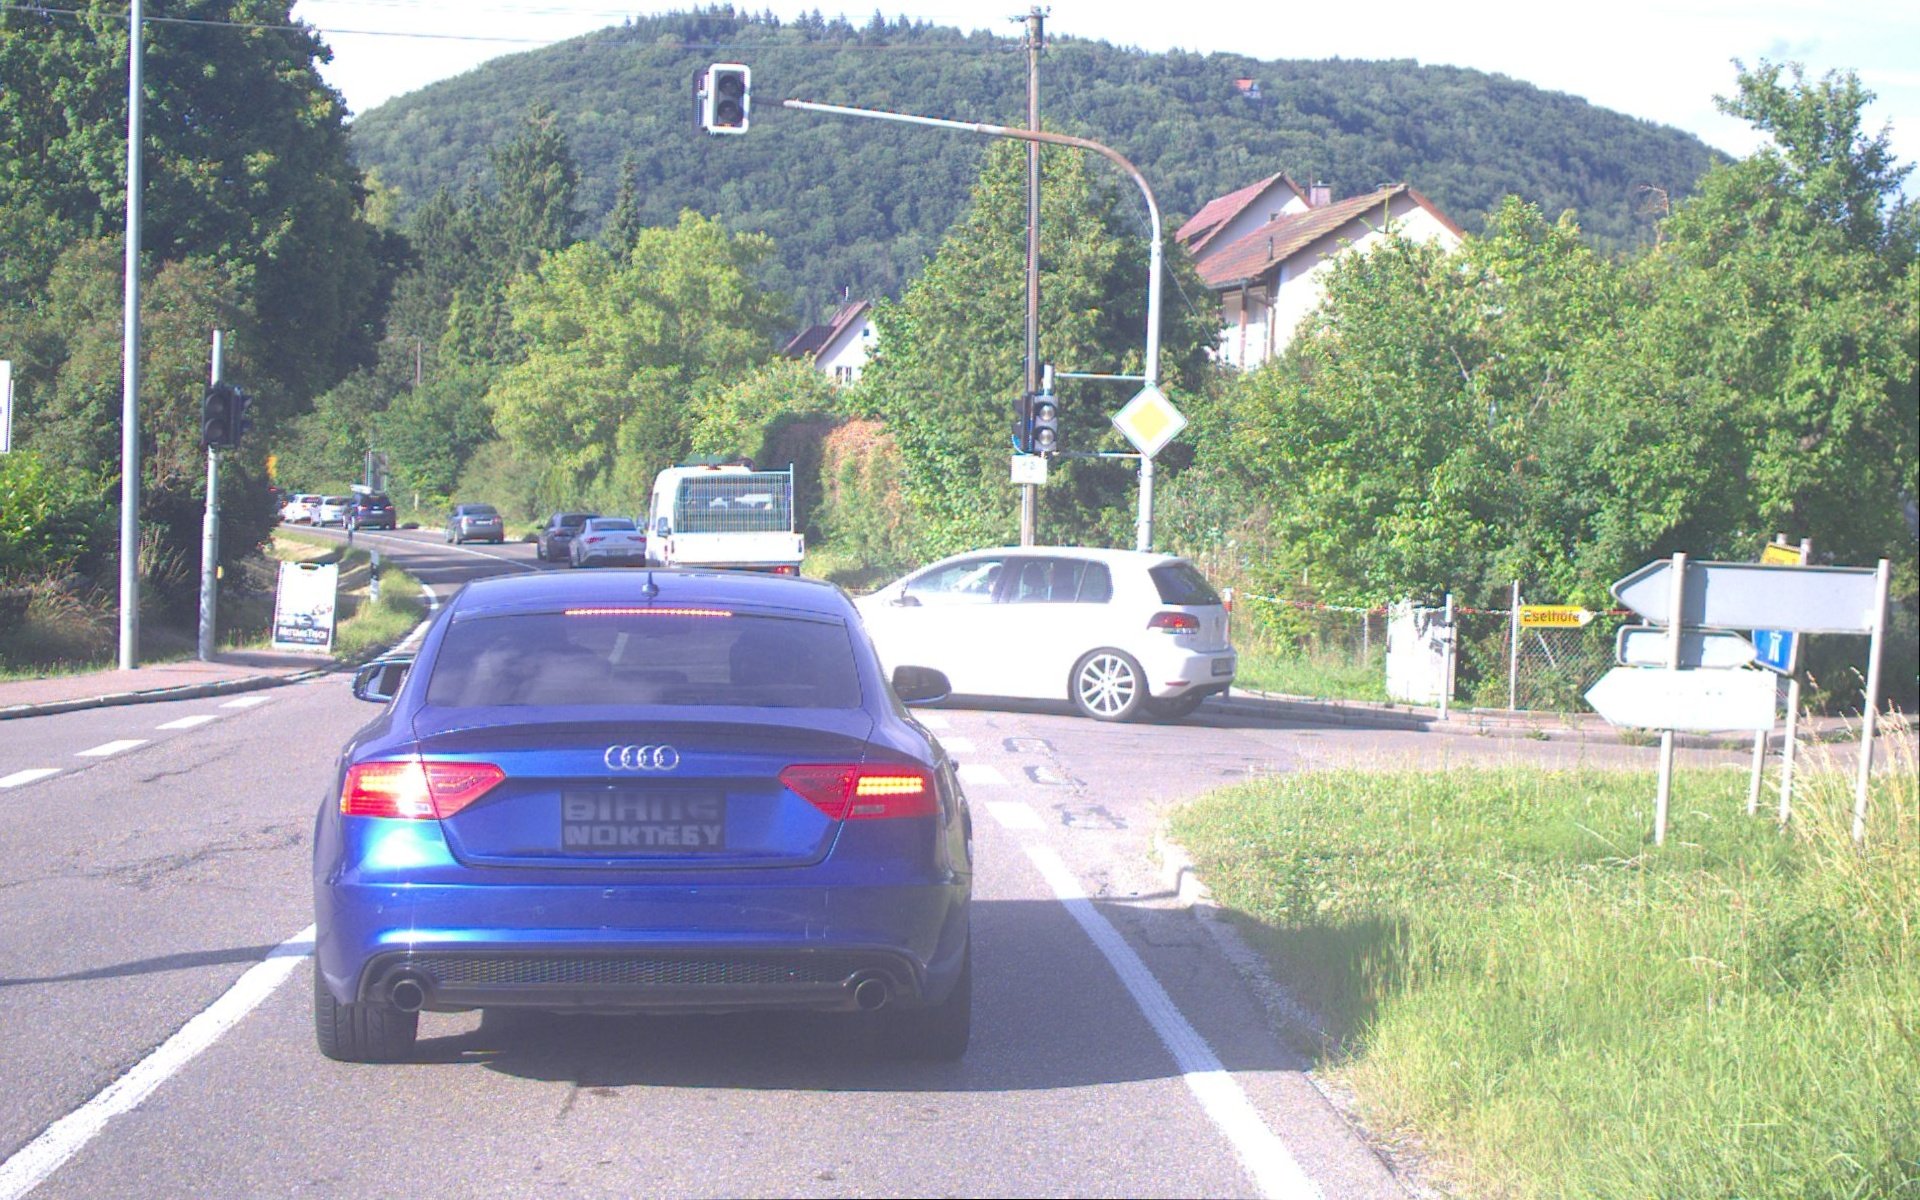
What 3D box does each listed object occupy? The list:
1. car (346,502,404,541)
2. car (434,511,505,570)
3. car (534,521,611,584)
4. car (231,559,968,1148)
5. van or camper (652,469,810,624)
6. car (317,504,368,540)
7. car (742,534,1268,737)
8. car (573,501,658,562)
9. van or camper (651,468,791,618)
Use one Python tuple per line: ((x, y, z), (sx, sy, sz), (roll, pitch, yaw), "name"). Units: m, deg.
((-26.052, -3.522, 152.958), (2.040, 1.678, 4.002), (0, 2, -17), "car")
((-17.802, -2.164, 124.651), (1.993, 2.006, 4.002), (0, 3, -16), "car")
((-11.392, -1.399, 100.880), (1.796, 1.787, 4.001), (0, 2, -13), "car")
((-1.022, 0.609, 10.740), (1.829, 1.404, 4.227), (0, 1, -3), "car")
((-3.753, -0.901, 55.442), (2.179, 2.377, 5.371), (0, 2, -8), "van or camper")
((-29.078, -3.662, 161.805), (1.941, 1.678, 4.001), (-1, 1, -17), "car")
((0.396, 0.268, 30.026), (4.165, 1.410, 1.775), (4, 2, 21), "car")
((-8.993, -1.790, 89.523), (1.819, 1.546, 4.001), (-1, 1, -11), "car")
((-4.905, -1.197, 69.699), (2.414, 2.894, 6.133), (0, 2, -8), "van or camper")
